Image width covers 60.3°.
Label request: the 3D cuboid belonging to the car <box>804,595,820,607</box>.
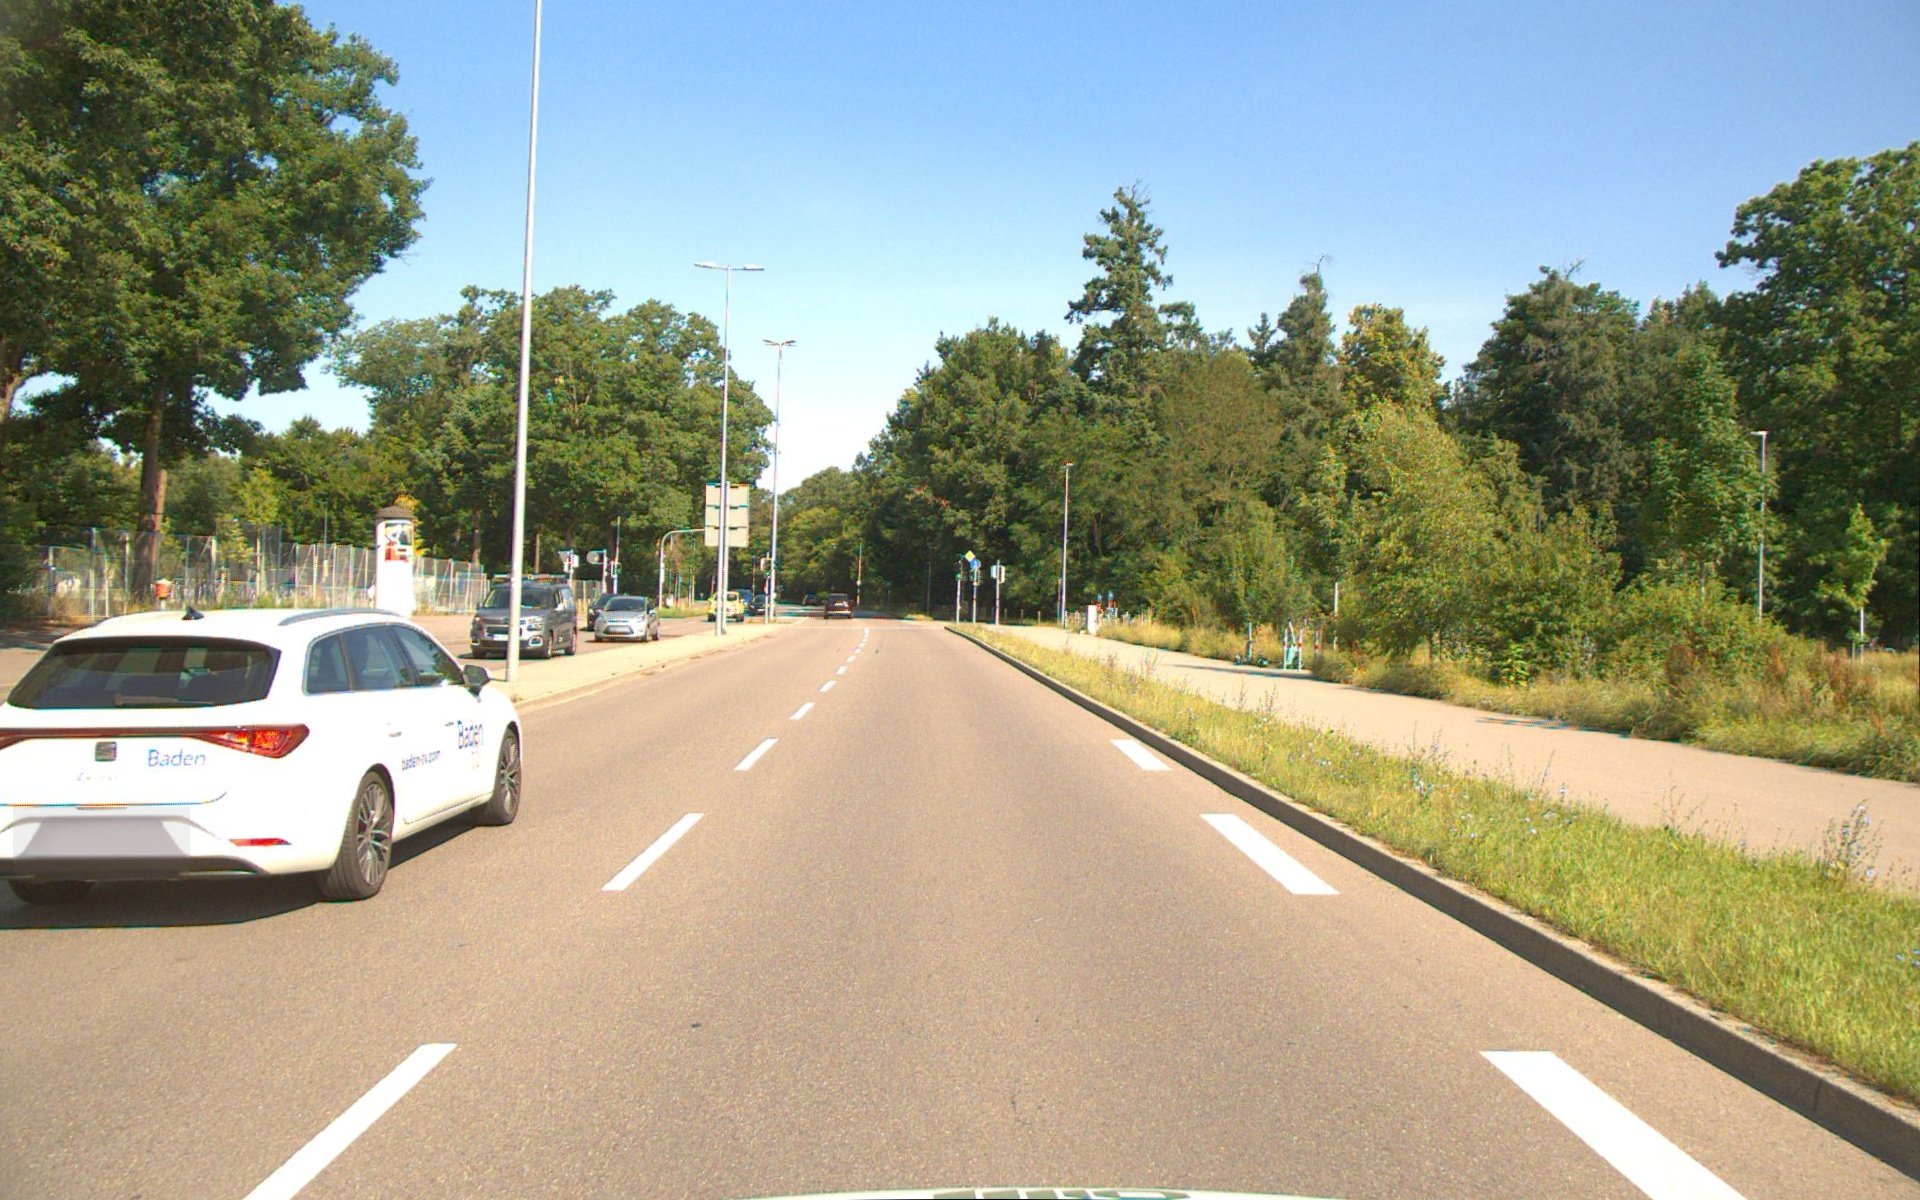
[{"bbox_3d":[-18.756,0.155,209.393,1.903,1.445,4.288,1,0,-6],"label":"car"}]

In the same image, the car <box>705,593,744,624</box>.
[{"bbox_3d":[-12.933,0.445,90.880,1.810,1.646,3.996,2,0,-5],"label":"car"}]

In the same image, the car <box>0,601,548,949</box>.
[{"bbox_3d":[-3.757,0.755,9.462,1.690,1.451,4.719,0,0,-1],"label":"car"}]

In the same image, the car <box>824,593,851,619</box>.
[{"bbox_3d":[-7.811,0.374,105.625,1.655,1.571,4.144,0,0,-5],"label":"car"}]

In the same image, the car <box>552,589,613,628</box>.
[{"bbox_3d":[-15.665,0.344,68.737,1.758,1.504,3.997,2,0,-3],"label":"car"}]

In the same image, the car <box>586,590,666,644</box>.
[{"bbox_3d":[-10.723,0.529,53.377,1.871,1.612,3.998,2,0,-2],"label":"car"}]

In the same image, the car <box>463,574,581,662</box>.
[{"bbox_3d":[-10.360,0.402,39.453,1.804,1.966,4.626,0,0,-3],"label":"car"}]

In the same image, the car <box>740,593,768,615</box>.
[{"bbox_3d":[-14.904,0.295,119.607,1.784,1.489,3.996,2,0,-5],"label":"car"}]
